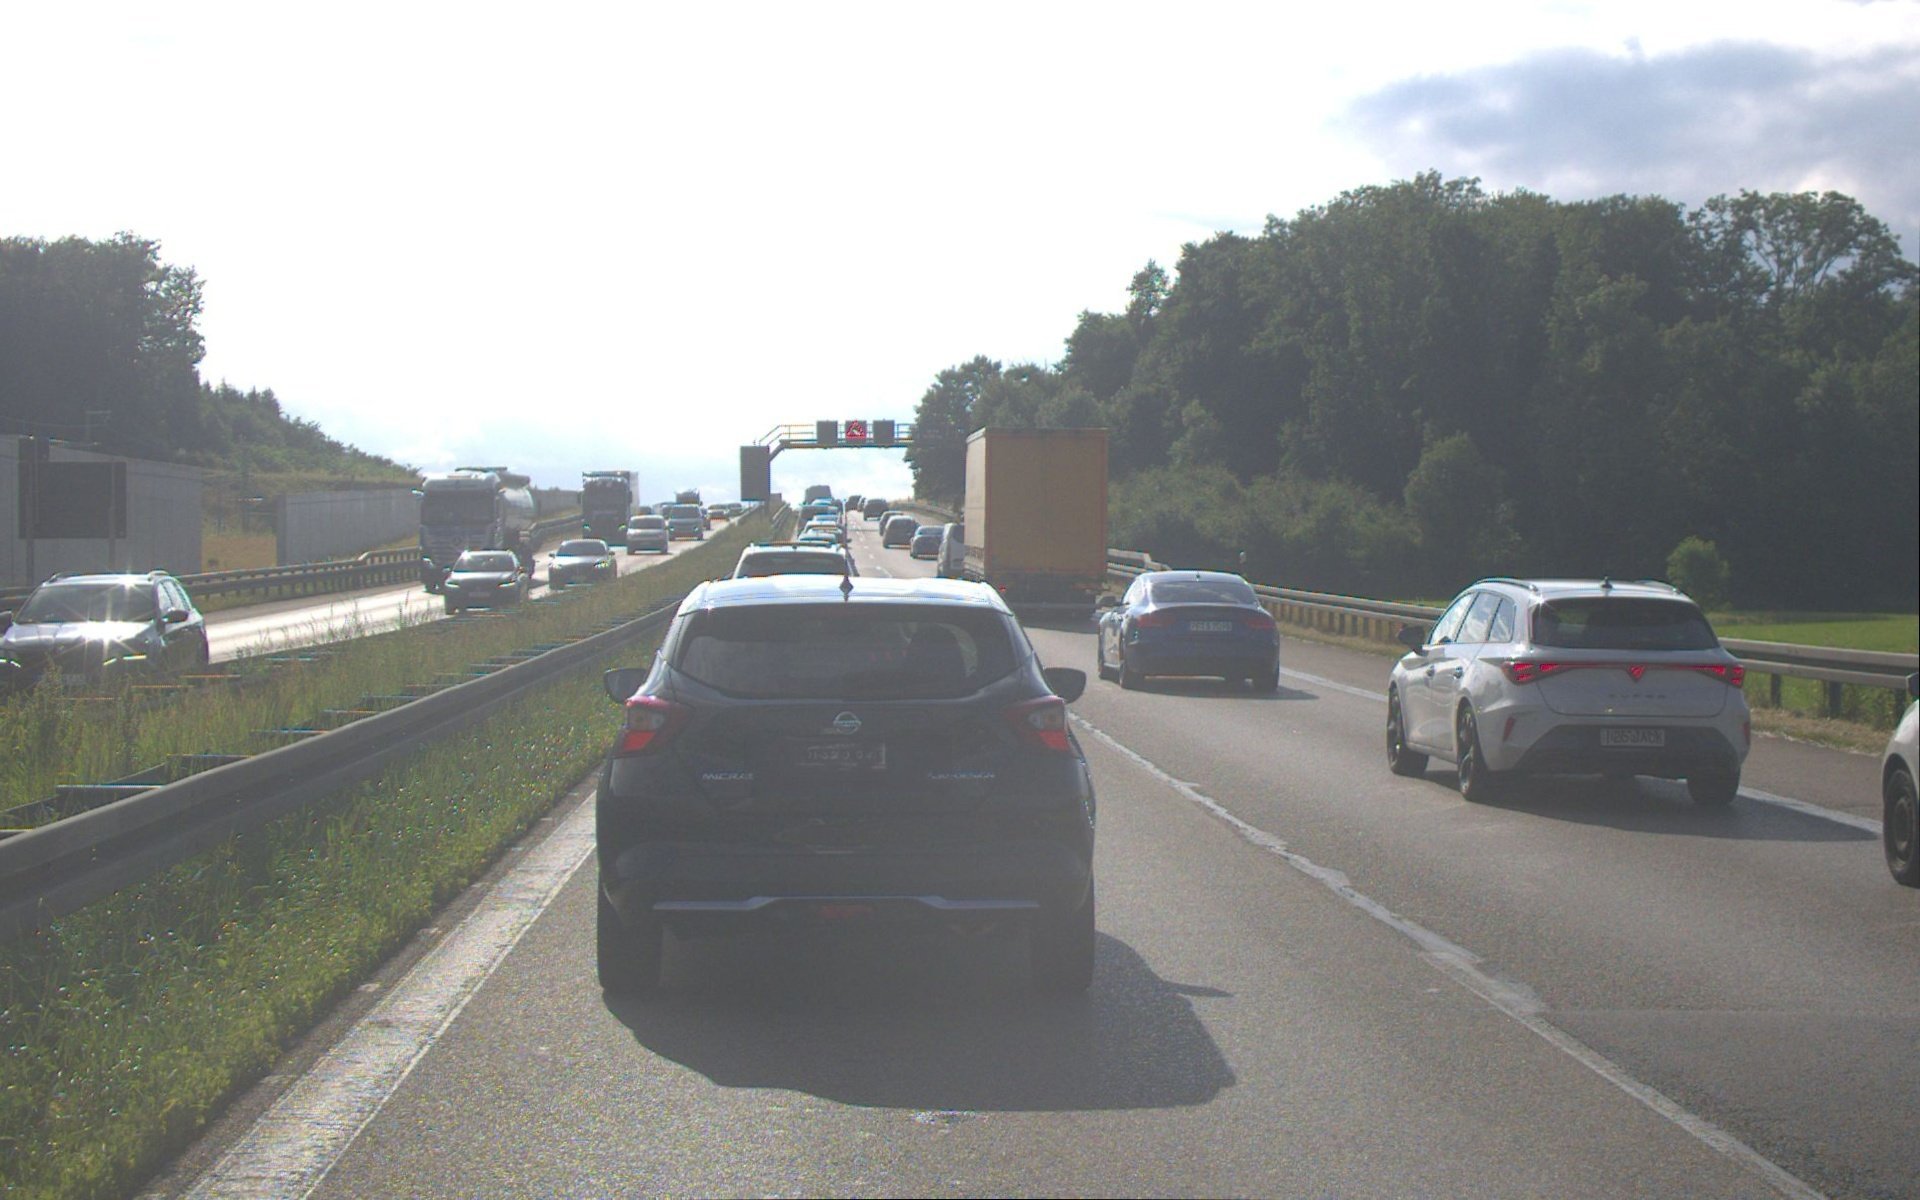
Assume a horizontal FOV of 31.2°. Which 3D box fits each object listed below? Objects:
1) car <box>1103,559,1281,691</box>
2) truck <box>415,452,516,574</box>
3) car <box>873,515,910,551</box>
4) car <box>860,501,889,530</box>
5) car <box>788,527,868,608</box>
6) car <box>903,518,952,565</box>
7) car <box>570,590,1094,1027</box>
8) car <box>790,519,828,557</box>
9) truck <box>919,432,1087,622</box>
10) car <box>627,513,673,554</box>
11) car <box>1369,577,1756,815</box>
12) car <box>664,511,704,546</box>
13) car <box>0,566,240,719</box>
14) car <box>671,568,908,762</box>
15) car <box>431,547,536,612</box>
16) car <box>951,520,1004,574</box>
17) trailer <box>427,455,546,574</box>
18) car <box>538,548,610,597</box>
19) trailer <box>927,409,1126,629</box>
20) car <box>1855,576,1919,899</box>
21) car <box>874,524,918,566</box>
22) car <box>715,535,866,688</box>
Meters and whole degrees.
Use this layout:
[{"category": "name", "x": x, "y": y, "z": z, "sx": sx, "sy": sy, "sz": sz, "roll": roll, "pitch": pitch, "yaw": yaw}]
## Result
[{"category": "car", "x": 2.719, "y": 0.278, "z": 41.000, "sx": 1.747, "sy": 1.470, "sz": 4.147, "roll": 1, "pitch": 0, "yaw": -1}, {"category": "truck", "x": -15.986, "y": -2.764, "z": 111.399, "sx": 2.552, "sy": 3.785, "sz": 5.417, "roll": -1, "pitch": 0, "yaw": -1}, {"category": "car", "x": -4.014, "y": -3.866, "z": 199.761, "sx": 1.993, "sy": 2.007, "sz": 4.000, "roll": 1, "pitch": 0, "yaw": -3}, {"category": "car", "x": -6.246, "y": -6.149, "z": 250.750, "sx": 1.993, "sy": 2.007, "sz": 4.000, "roll": 1, "pitch": 0, "yaw": -3}, {"category": "car", "x": -3.429, "y": -0.829, "z": 88.839, "sx": 1.993, "sy": 2.007, "sz": 4.000, "roll": 1, "pitch": 0, "yaw": -3}, {"category": "car", "x": -1.440, "y": -2.575, "z": 153.076, "sx": 1.993, "sy": 2.007, "sz": 4.000, "roll": 1, "pitch": 0, "yaw": -3}, {"category": "car", "x": -0.438, "y": 0.683, "z": 13.021, "sx": 1.710, "sy": 1.421, "sz": 3.378, "roll": 1, "pitch": 0, "yaw": -1}, {"category": "car", "x": -8.179, "y": -3.338, "z": 185.678, "sx": 1.993, "sy": 2.007, "sz": 4.000, "roll": 1, "pitch": 0, "yaw": -3}, {"category": "truck", "x": 0.969, "y": -1.717, "z": 83.293, "sx": 3.581, "sy": 4.365, "sz": 6.689, "roll": 1, "pitch": 0, "yaw": -3}, {"category": "car", "x": -14.602, "y": -3.108, "z": 161.918, "sx": 1.860, "sy": 1.827, "sz": 4.281, "roll": 1, "pitch": 0, "yaw": -1}, {"category": "car", "x": 3.939, "y": 0.580, "z": 23.127, "sx": 1.620, "sy": 1.441, "sz": 4.147, "roll": 1, "pitch": 0, "yaw": -4}, {"category": "car", "x": -15.726, "y": -4.064, "z": 196.088, "sx": 1.993, "sy": 1.877, "sz": 4.787, "roll": -2, "pitch": 0, "yaw": -2}, {"category": "car", "x": -9.048, "y": 0.412, "z": 36.609, "sx": 1.843, "sy": 1.503, "sz": 4.551, "roll": 1, "pitch": 0, "yaw": -1}, {"category": "car", "x": -1.249, "y": 0.458, "z": 26.312, "sx": 1.674, "sy": 1.362, "sz": 3.596, "roll": 1, "pitch": 0, "yaw": -1}, {"category": "car", "x": -11.471, "y": -0.490, "z": 83.016, "sx": 1.993, "sy": 1.481, "sz": 4.398, "roll": 1, "pitch": 0, "yaw": -1}, {"category": "car", "x": 0.570, "y": -1.757, "z": 114.635, "sx": 1.667, "sy": 1.749, "sz": 3.327, "roll": 1, "pitch": 0, "yaw": -1}, {"category": "trailer", "x": -16.167, "y": -2.827, "z": 118.155, "sx": 2.540, "sy": 3.758, "sz": 12.542, "roll": -1, "pitch": 0, "yaw": -1}, {"category": "car", "x": -12.248, "y": -0.862, "z": 109.327, "sx": 1.803, "sy": 1.511, "sz": 4.691, "roll": 1, "pitch": 0, "yaw": -1}, {"category": "trailer", "x": 1.301, "y": -1.682, "z": 76.577, "sx": 3.548, "sy": 4.442, "sz": 12.723, "roll": 1, "pitch": 0, "yaw": -3}, {"category": "car", "x": 5.296, "y": 0.671, "z": 15.293, "sx": 1.548, "sy": 1.490, "sz": 3.378, "roll": 1, "pitch": 1, "yaw": -4}, {"category": "car", "x": -3.181, "y": -2.735, "z": 170.281, "sx": 1.993, "sy": 2.007, "sz": 4.000, "roll": 1, "pitch": 0, "yaw": -3}, {"category": "car", "x": -1.975, "y": 0.124, "z": 40.899, "sx": 1.674, "sy": 1.720, "sz": 3.596, "roll": 1, "pitch": 0, "yaw": -1}]
